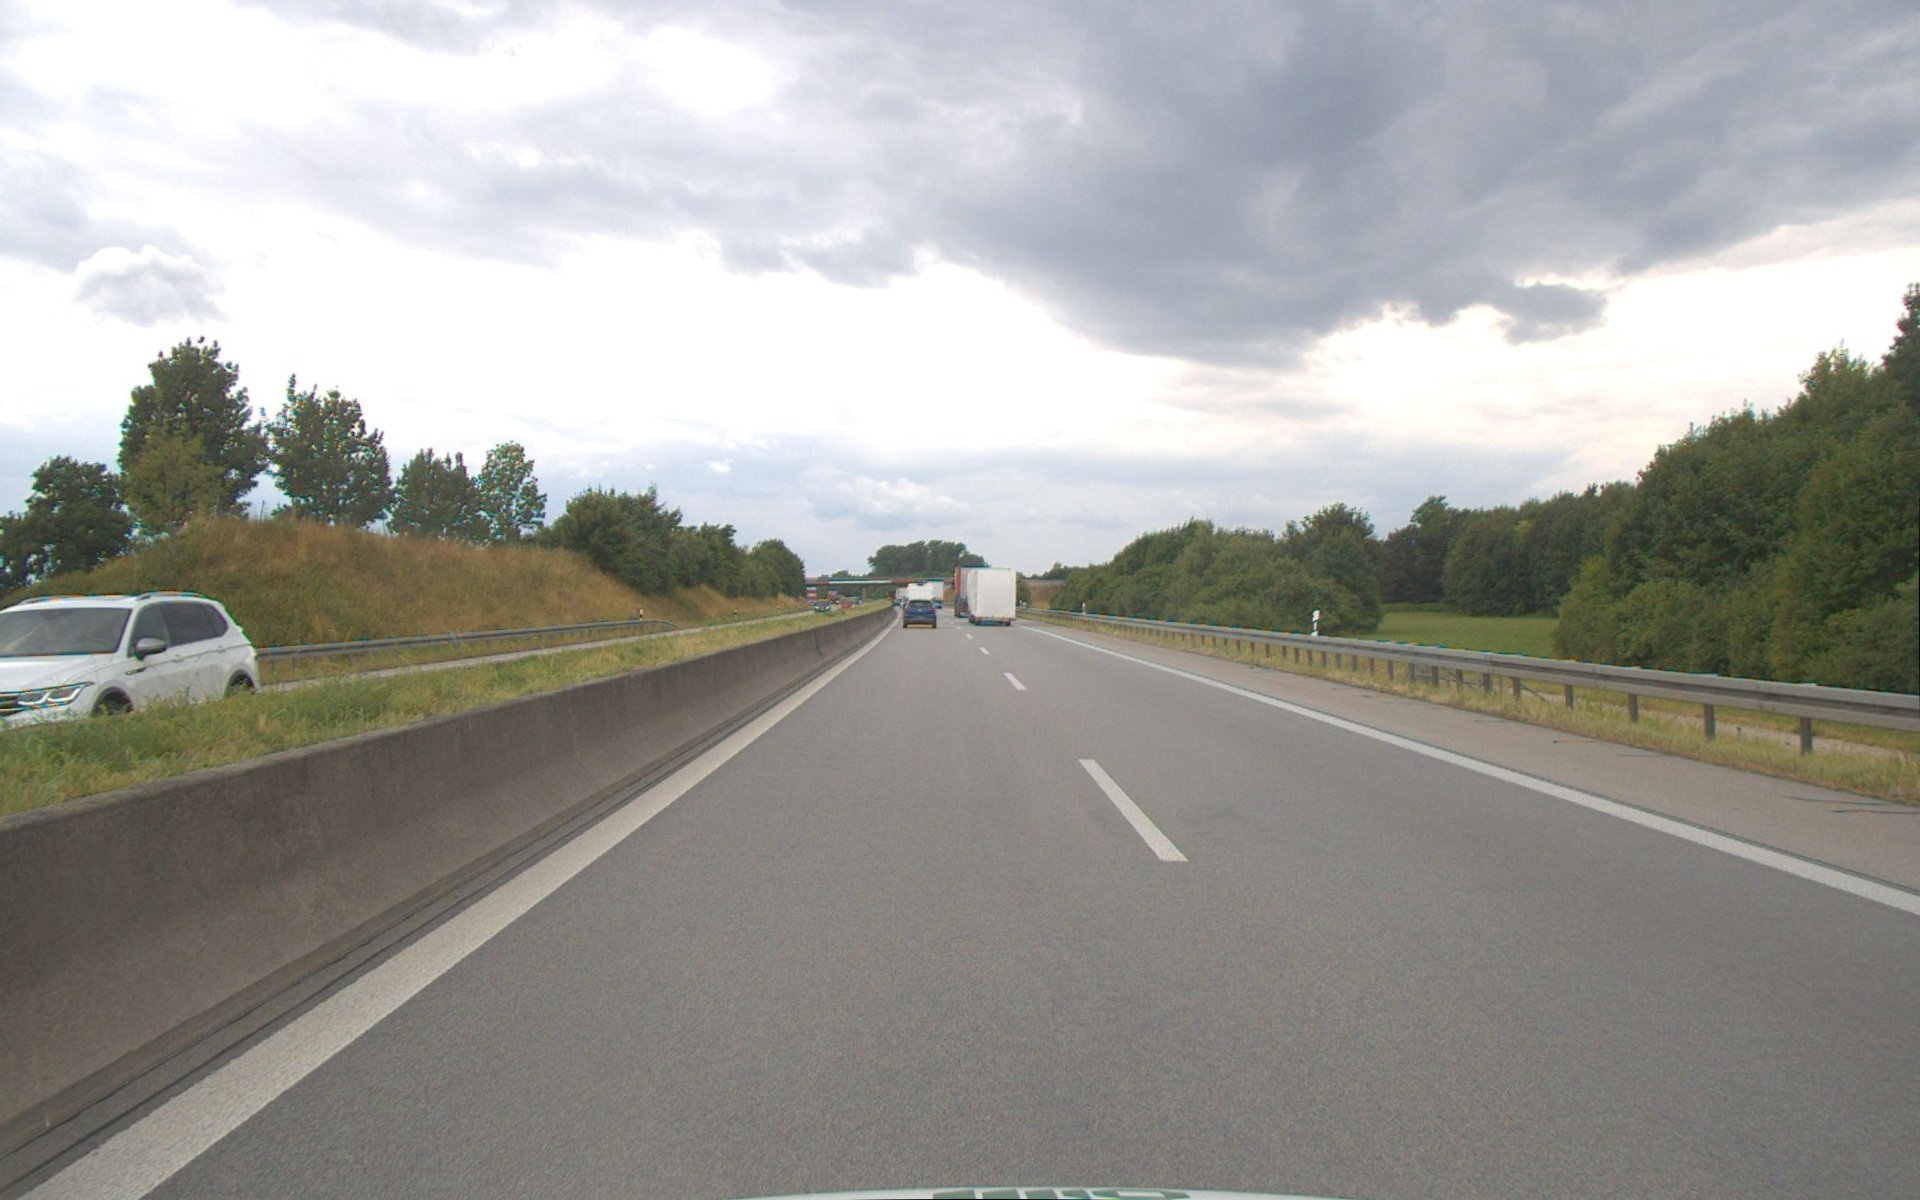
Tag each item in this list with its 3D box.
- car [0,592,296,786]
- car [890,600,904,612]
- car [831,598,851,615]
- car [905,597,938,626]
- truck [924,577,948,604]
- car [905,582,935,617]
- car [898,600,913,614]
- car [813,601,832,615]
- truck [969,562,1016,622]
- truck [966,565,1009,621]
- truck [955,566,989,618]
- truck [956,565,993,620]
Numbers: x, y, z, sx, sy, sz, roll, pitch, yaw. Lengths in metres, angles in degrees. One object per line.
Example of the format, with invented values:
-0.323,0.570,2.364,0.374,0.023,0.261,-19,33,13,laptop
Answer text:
-8.339,0.759,16.235,1.828,1.602,4.692,-2,0,-2,car
-9.119,0.834,240.019,1.954,1.713,3.996,0,0,-4,car
-12.372,0.683,171.792,1.808,1.599,4.359,-2,0,-2,car
-1.961,0.558,83.289,1.630,1.432,3.647,0,0,-2,car
-3.549,-1.385,243.045,3.048,3.754,9.317,-2,0,-3,truck
-2.967,-0.033,121.077,2.087,2.526,5.837,-1,0,-2,car
-6.827,0.857,207.862,1.896,1.672,4.902,-1,0,-1,car
-15.901,0.914,191.145,1.809,1.523,4.578,-3,0,-2,car
1.794,-0.429,94.001,2.366,3.278,7.141,0,0,-1,truck
1.646,-0.403,101.191,2.380,3.300,7.245,0,0,-1,truck
0.981,-0.670,136.243,2.619,4.116,5.511,-1,0,-1,truck
1.090,-0.632,130.913,2.619,4.116,11.105,-1,0,-1,truck
